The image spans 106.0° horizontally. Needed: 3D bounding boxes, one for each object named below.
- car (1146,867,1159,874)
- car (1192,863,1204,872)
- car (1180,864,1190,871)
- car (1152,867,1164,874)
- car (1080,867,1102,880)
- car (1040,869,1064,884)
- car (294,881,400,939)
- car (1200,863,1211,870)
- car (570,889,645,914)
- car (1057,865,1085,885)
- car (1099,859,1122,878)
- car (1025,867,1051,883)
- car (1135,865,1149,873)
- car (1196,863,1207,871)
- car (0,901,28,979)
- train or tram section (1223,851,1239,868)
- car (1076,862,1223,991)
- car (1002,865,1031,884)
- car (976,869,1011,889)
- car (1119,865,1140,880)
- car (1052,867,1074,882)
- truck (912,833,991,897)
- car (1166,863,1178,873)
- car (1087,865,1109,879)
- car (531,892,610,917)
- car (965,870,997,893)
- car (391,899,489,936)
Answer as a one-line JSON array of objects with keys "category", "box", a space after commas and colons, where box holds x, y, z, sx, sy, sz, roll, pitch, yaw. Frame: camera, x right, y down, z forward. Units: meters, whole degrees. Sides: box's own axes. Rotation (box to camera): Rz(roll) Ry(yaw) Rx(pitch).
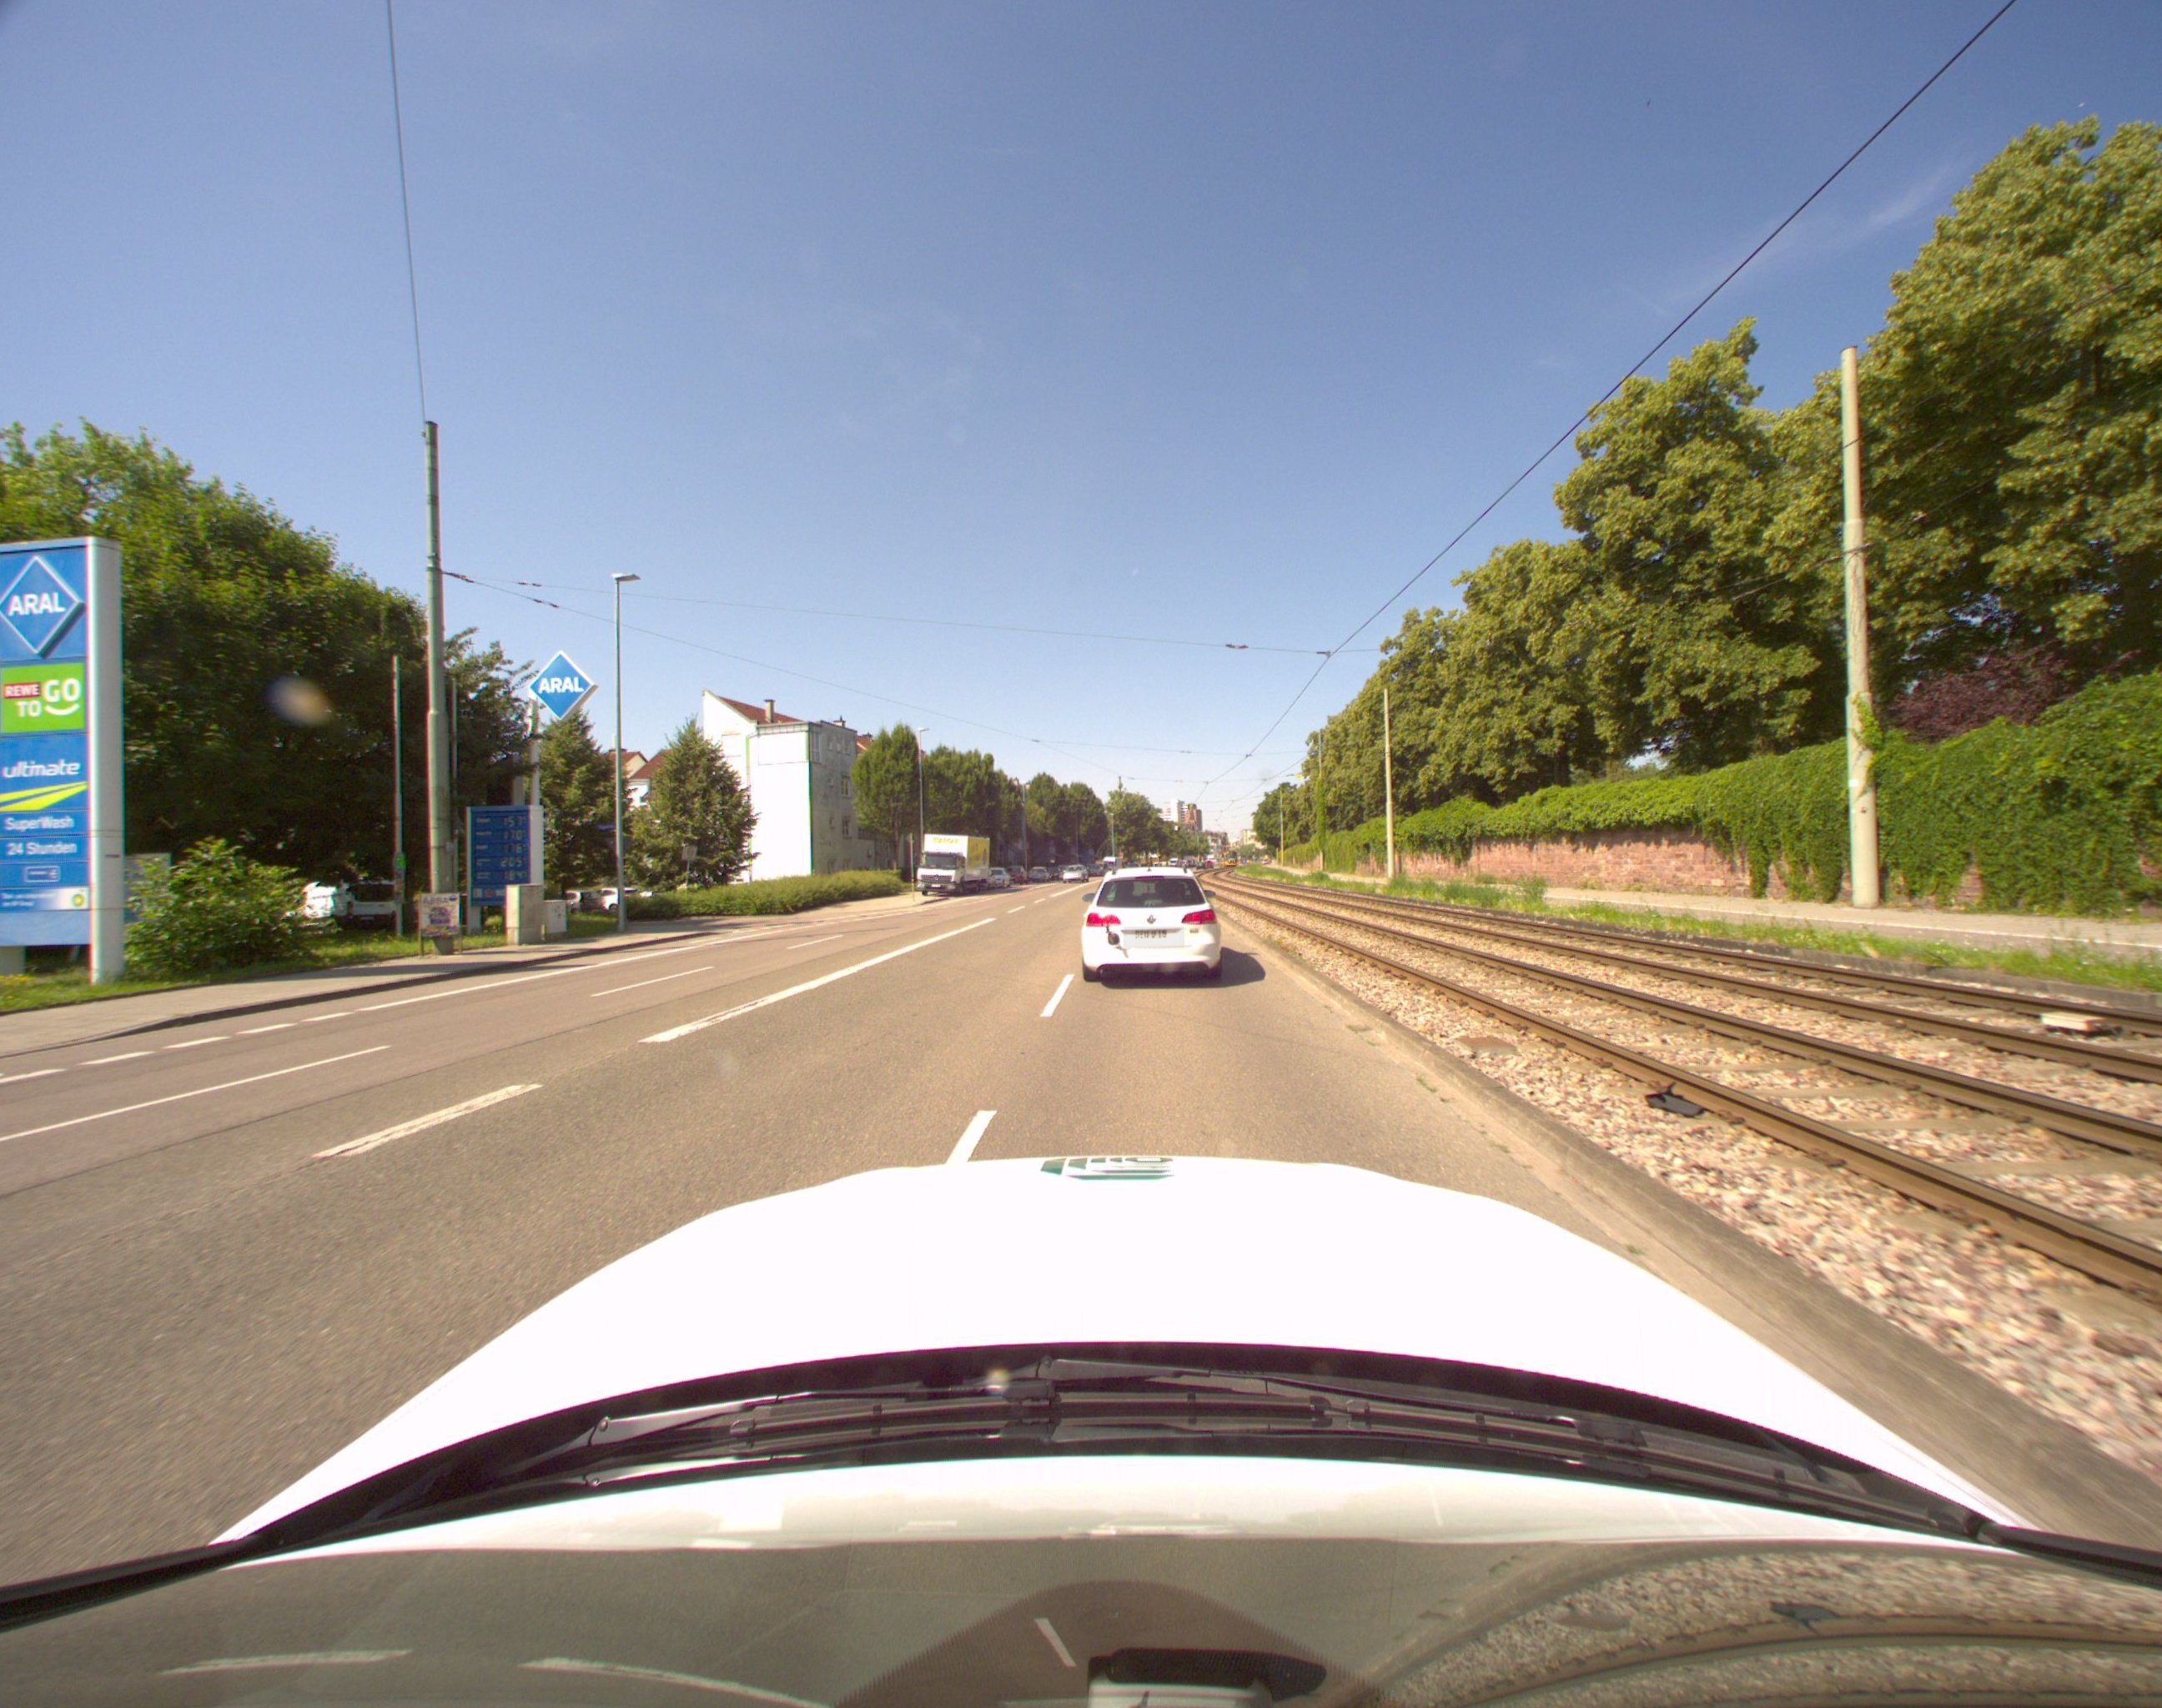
[{"category": "car", "box": [14.399, 3.355, 164.159, 1.686, 1.352, 4.017, -2, -1, 16]}, {"category": "car", "box": [21.256, 2.421, 147.604, 1.788, 1.507, 4.013, -1, -1, 12]}, {"category": "car", "box": [27.775, 3.629, 217.252, 1.812, 1.867, 4.744, -2, -1, 16]}, {"category": "car", "box": [16.062, 3.411, 169.237, 1.686, 1.352, 4.017, -2, -1, 16]}, {"category": "car", "box": [1.347, 2.569, 108.197, 1.788, 1.724, 4.927, 1, -1, 14]}, {"category": "car", "box": [-3.054, 2.393, 86.402, 1.713, 1.474, 4.724, 0, -1, 8]}, {"category": "car", "box": [-34.328, 2.618, 38.098, 4.140, 2.538, 1.796, -3, -1, 17]}, {"category": "car", "box": [24.547, 2.460, 160.715, 1.788, 1.460, 4.013, -2, -1, 12]}, {"category": "car", "box": [-27.240, 2.728, 46.832, 3.623, 1.205, 1.581, -2, -1, 15]}, {"category": "car", "box": [-0.770, 1.679, 65.905, 1.651, 1.420, 4.316, -4, -1, 5]}, {"category": "car", "box": [4.460, 2.227, 121.957, 1.980, 2.714, 7.183, 1, -1, 14]}, {"category": "car", "box": [-4.197, 2.050, 80.081, 1.771, 1.484, 4.865, 0, -1, 6]}, {"category": "car", "box": [11.412, 2.838, 151.571, 1.686, 1.417, 4.017, -2, -1, 16]}, {"category": "car", "box": [22.763, 2.479, 154.147, 1.788, 1.460, 4.013, -1, -1, 12]}, {"category": "car", "box": [-23.329, 1.838, 14.995, 1.791, 1.570, 4.523, -2, 1, 4]}, {"category": "train or tram section", "box": [34.922, 1.406, 189.179, 2.493, 3.747, 13.362, -2, -1, 15]}, {"category": "car", "box": [0.898, 0.863, 11.671, 1.684, 1.451, 4.461, -1, 0, 3]}, {"category": "car", "box": [-5.477, 1.743, 69.389, 1.722, 1.552, 4.325, -1, -1, 6]}, {"category": "car", "box": [-6.530, 1.828, 61.070, 1.749, 1.429, 4.287, 0, -1, 5]}, {"category": "car", "box": [5.228, 1.972, 86.651, 1.790, 1.507, 4.010, -1, 0, 9]}, {"category": "car", "box": [-2.042, 2.340, 92.317, 1.707, 1.625, 4.323, 0, -1, 9]}, {"category": "truck", "box": [-7.597, 0.671, 49.060, 2.654, 3.530, 8.602, 0, -1, 5]}, {"category": "car", "box": [22.106, 3.306, 197.659, 1.865, 2.416, 5.138, -2, -1, 16]}, {"category": "car", "box": [2.424, 2.520, 113.768, 1.906, 1.948, 5.372, 1, -1, 13]}, {"category": "car", "box": [-27.969, 2.780, 44.625, 3.623, 1.205, 1.581, -2, -1, 15]}, {"category": "car", "box": [-6.897, 1.870, 56.367, 1.603, 1.484, 3.638, 0, -1, 3]}, {"category": "car", "box": [-28.548, 2.824, 36.303, 3.570, 1.484, 1.668, -3, -1, 17]}]
